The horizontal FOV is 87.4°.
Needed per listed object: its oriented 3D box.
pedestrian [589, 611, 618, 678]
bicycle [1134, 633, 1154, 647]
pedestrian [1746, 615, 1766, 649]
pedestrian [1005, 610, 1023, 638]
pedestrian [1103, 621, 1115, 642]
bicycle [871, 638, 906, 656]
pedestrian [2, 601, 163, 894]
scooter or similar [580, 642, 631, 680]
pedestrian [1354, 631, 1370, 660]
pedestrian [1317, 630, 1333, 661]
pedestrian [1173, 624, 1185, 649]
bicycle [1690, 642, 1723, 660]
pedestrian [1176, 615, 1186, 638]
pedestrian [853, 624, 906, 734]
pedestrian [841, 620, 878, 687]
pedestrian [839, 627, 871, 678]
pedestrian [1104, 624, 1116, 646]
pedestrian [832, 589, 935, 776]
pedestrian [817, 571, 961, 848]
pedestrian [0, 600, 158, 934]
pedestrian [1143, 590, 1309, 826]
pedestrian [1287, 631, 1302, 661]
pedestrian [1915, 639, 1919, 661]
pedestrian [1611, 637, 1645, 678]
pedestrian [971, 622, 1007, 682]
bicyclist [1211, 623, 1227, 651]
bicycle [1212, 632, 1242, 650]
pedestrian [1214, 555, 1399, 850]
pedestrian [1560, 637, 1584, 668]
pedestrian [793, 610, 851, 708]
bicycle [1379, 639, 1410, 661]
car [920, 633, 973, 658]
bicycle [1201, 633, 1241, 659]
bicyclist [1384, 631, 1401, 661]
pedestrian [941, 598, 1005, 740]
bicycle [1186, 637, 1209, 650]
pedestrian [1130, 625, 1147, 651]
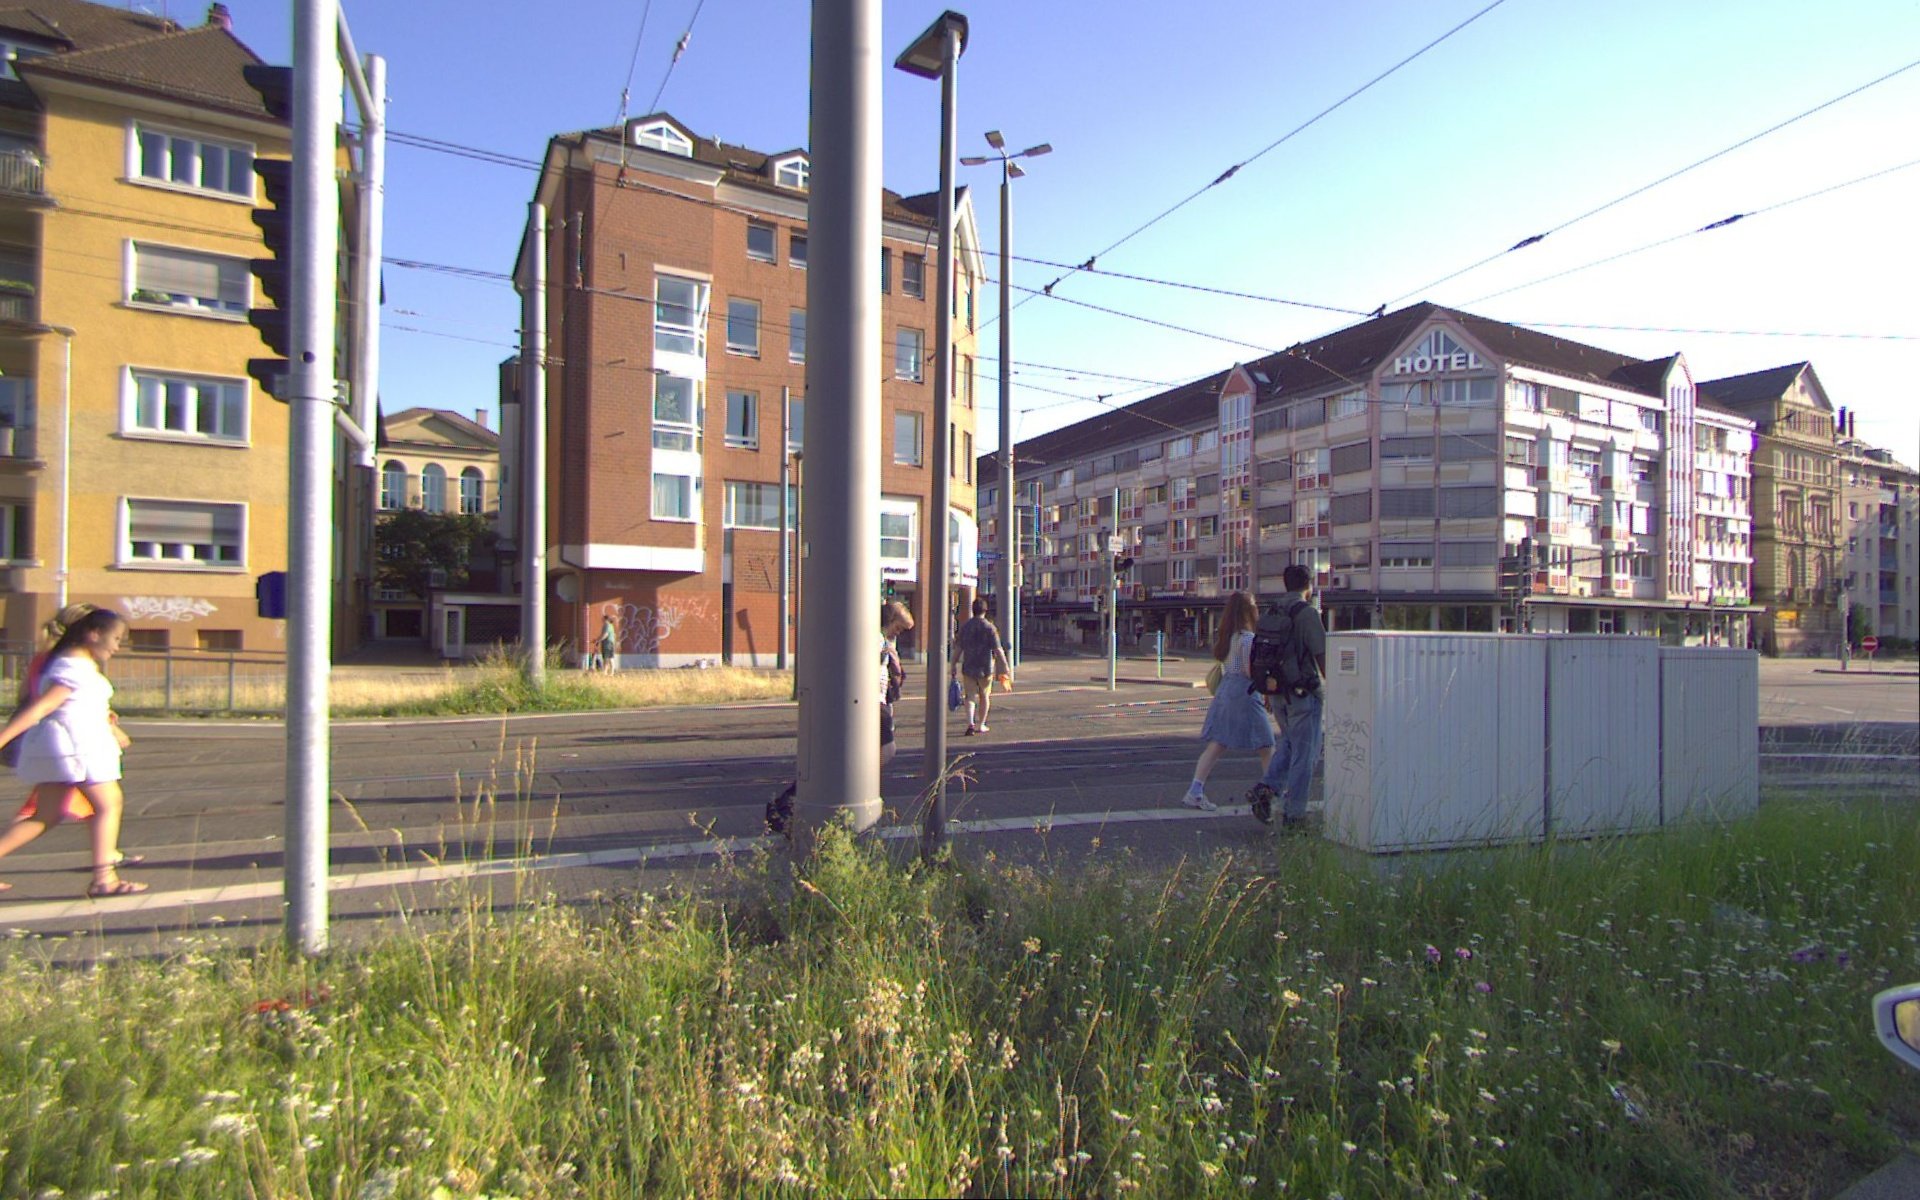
[{"bbox_3d":[-10.118,1.250,28.510,0.713,1.872,0.559,2,0,-23],"label":"pedestrian"},{"bbox_3d":[14.639,3.193,79.841,1.630,1.134,0.480,2,0,-30],"label":"bicycle"},{"bbox_3d":[57.874,2.322,73.033,0.953,2.430,0.918,2,0,-40],"label":"pedestrian"},{"bbox_3d":[3.361,1.494,62.493,0.773,1.682,0.677,2,0,-35],"label":"pedestrian"},{"bbox_3d":[12.084,2.572,81.319,0.741,1.667,0.547,-1,1,-20],"label":"pedestrian"},{"bbox_3d":[-3.906,2.585,55.021,1.813,0.974,0.540,1,1,-27],"label":"bicycle"},{"bbox_3d":[-4.742,0.745,5.428,0.628,1.451,0.523,2,0,38],"label":"pedestrian"},{"bbox_3d":[-10.009,1.724,28.382,1.311,1.019,0.484,2,0,-23],"label":"scooter or similar"},{"bbox_3d":[22.916,2.588,57.264,0.705,1.684,0.631,-1,-2,37],"label":"pedestrian"},{"bbox_3d":[21.191,2.619,58.350,0.503,1.788,1.001,2,0,40],"label":"pedestrian"},{"bbox_3d":[16.637,2.761,76.419,0.601,1.877,0.601,2,0,-20],"label":"pedestrian"},{"bbox_3d":[48.497,3.295,65.271,2.056,1.085,0.451,2,0,-13],"label":"bicycle"},{"bbox_3d":[16.218,1.971,73.761,0.598,1.656,0.604,2,-4,16],"label":"pedestrian"},{"bbox_3d":[-1.058,1.019,13.137,0.585,1.378,0.607,3,0,-8],"label":"pedestrian"},{"bbox_3d":[-2.476,1.309,24.782,0.825,1.605,0.683,2,0,-3],"label":"pedestrian"},{"bbox_3d":[-3.435,1.713,32.921,0.824,1.605,0.684,2,0,9],"label":"pedestrian"},{"bbox_3d":[12.533,2.896,83.899,0.804,1.802,0.680,2,0,0],"label":"pedestrian"},{"bbox_3d":[-0.686,0.693,8.881,0.612,1.556,0.782,2,0,-28],"label":"pedestrian"},{"bbox_3d":[-0.472,0.662,6.529,0.612,1.662,0.781,2,0,-32],"label":"pedestrian"},{"bbox_3d":[-4.324,0.747,4.869,0.628,1.475,0.523,2,0,38],"label":"pedestrian"},{"bbox_3d":[2.009,0.773,7.627,0.888,1.662,0.783,2,0,-26],"label":"pedestrian"},{"bbox_3d":[19.464,2.668,58.417,0.612,1.717,0.866,2,0,29],"label":"pedestrian"},{"bbox_3d":[78.206,4.064,81.578,0.715,1.717,0.692,2,0,-30],"label":"pedestrian"},{"bbox_3d":[33.452,2.872,50.325,0.847,1.909,1.187,-5,4,-34],"label":"pedestrian"},{"bbox_3d":[0.885,1.562,30.604,0.824,1.781,0.687,2,0,-44],"label":"pedestrian"},{"bbox_3d":[14.244,2.034,55.155,0.723,1.501,0.566,0,1,-1],"label":"bicyclist"},{"bbox_3d":[18.465,2.827,69.586,0.720,1.243,2.319,2,-2,-24],"label":"bicycle"},{"bbox_3d":[2.329,0.624,6.774,0.889,1.825,0.782,-2,2,-30],"label":"pedestrian"},{"bbox_3d":[30.267,2.605,49.658,0.847,1.472,0.700,2,0,-34],"label":"pedestrian"},{"bbox_3d":[-2.346,0.994,17.064,0.779,1.609,0.603,2,0,-29],"label":"pedestrian"},{"bbox_3d":[24.179,2.769,55.920,1.746,1.160,0.636,-1,1,-27],"label":"bicycle"},{"bbox_3d":[-0.831,2.583,57.525,1.725,1.261,3.916,2,0,-22],"label":"car"},{"bbox_3d":[14.335,2.546,55.173,2.054,1.385,0.584,0,1,-2],"label":"bicycle"},{"bbox_3d":[24.046,2.542,55.844,0.649,1.618,0.636,-1,1,-26],"label":"bicyclist"},{"bbox_3d":[0.184,0.882,13.274,0.761,1.781,0.900,2,0,3],"label":"pedestrian"},{"bbox_3d":[17.098,3.127,72.271,0.494,0.929,2.066,2,-2,-24],"label":"bicycle"},{"bbox_3d":[11.612,2.479,65.378,0.773,1.682,0.677,2,0,-35],"label":"pedestrian"}]
